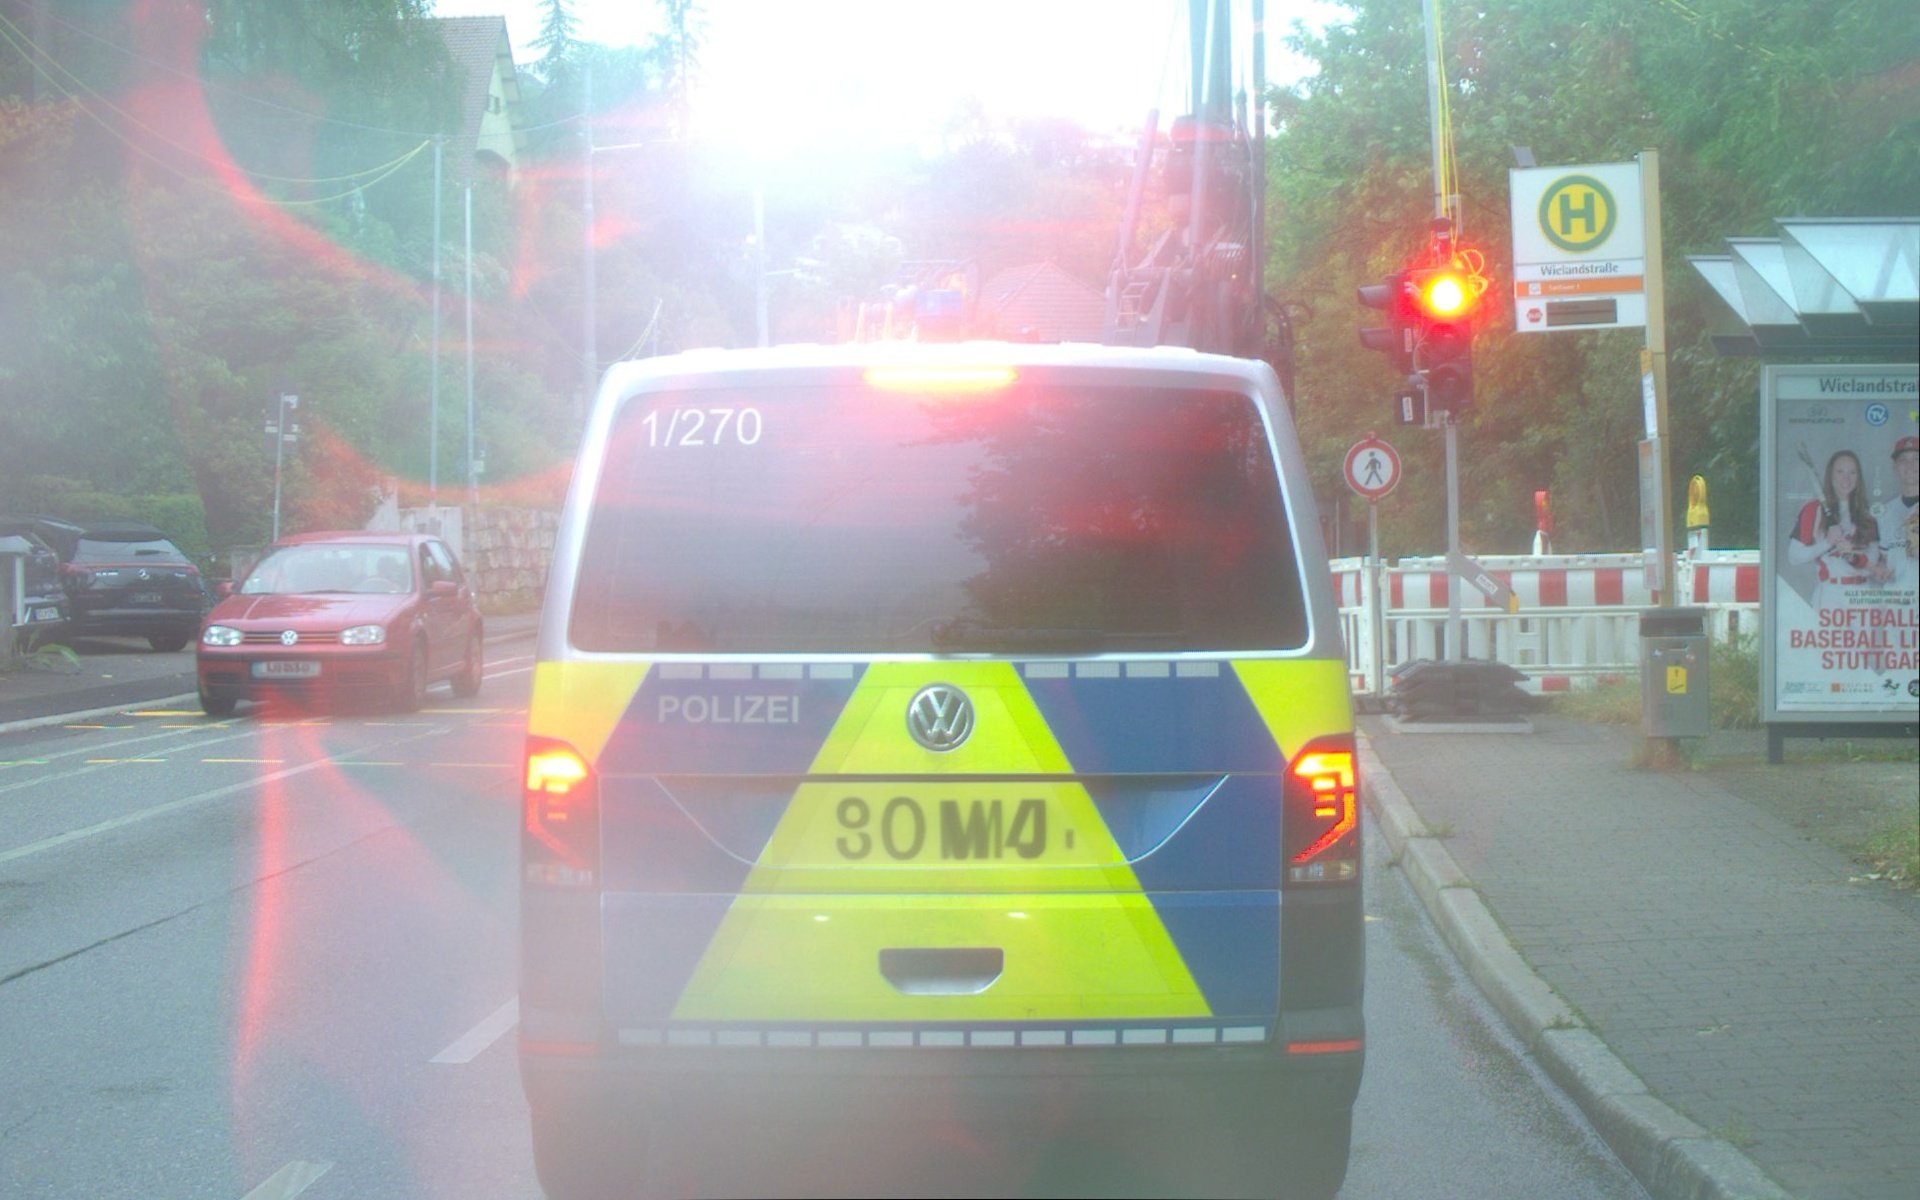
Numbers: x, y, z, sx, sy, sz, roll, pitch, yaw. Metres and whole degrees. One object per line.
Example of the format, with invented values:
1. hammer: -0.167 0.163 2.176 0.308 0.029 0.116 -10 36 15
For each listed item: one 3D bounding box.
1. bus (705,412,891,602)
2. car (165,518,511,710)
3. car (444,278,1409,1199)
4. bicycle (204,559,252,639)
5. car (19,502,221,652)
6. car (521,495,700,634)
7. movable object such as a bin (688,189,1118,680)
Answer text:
1. bus: -3.314 -1.955 73.596 2.841 3.705 12.005 1 1 3
2. car: -4.990 0.061 28.096 1.764 1.458 3.885 0 1 6
3. car: -0.092 0.355 8.836 1.893 2.043 4.000 1 1 -1
4. bicycle: -8.440 -0.023 39.597 0.462 0.894 1.634 0 1 -15
5. car: -9.321 -0.282 37.980 1.765 1.481 3.743 1 3 -20
6. car: -4.593 -0.506 45.747 1.979 1.742 4.554 1 1 -1
7. movable object such as a bin: -0.419 -1.463 31.636 2.832 4.163 4.378 1 1 15
